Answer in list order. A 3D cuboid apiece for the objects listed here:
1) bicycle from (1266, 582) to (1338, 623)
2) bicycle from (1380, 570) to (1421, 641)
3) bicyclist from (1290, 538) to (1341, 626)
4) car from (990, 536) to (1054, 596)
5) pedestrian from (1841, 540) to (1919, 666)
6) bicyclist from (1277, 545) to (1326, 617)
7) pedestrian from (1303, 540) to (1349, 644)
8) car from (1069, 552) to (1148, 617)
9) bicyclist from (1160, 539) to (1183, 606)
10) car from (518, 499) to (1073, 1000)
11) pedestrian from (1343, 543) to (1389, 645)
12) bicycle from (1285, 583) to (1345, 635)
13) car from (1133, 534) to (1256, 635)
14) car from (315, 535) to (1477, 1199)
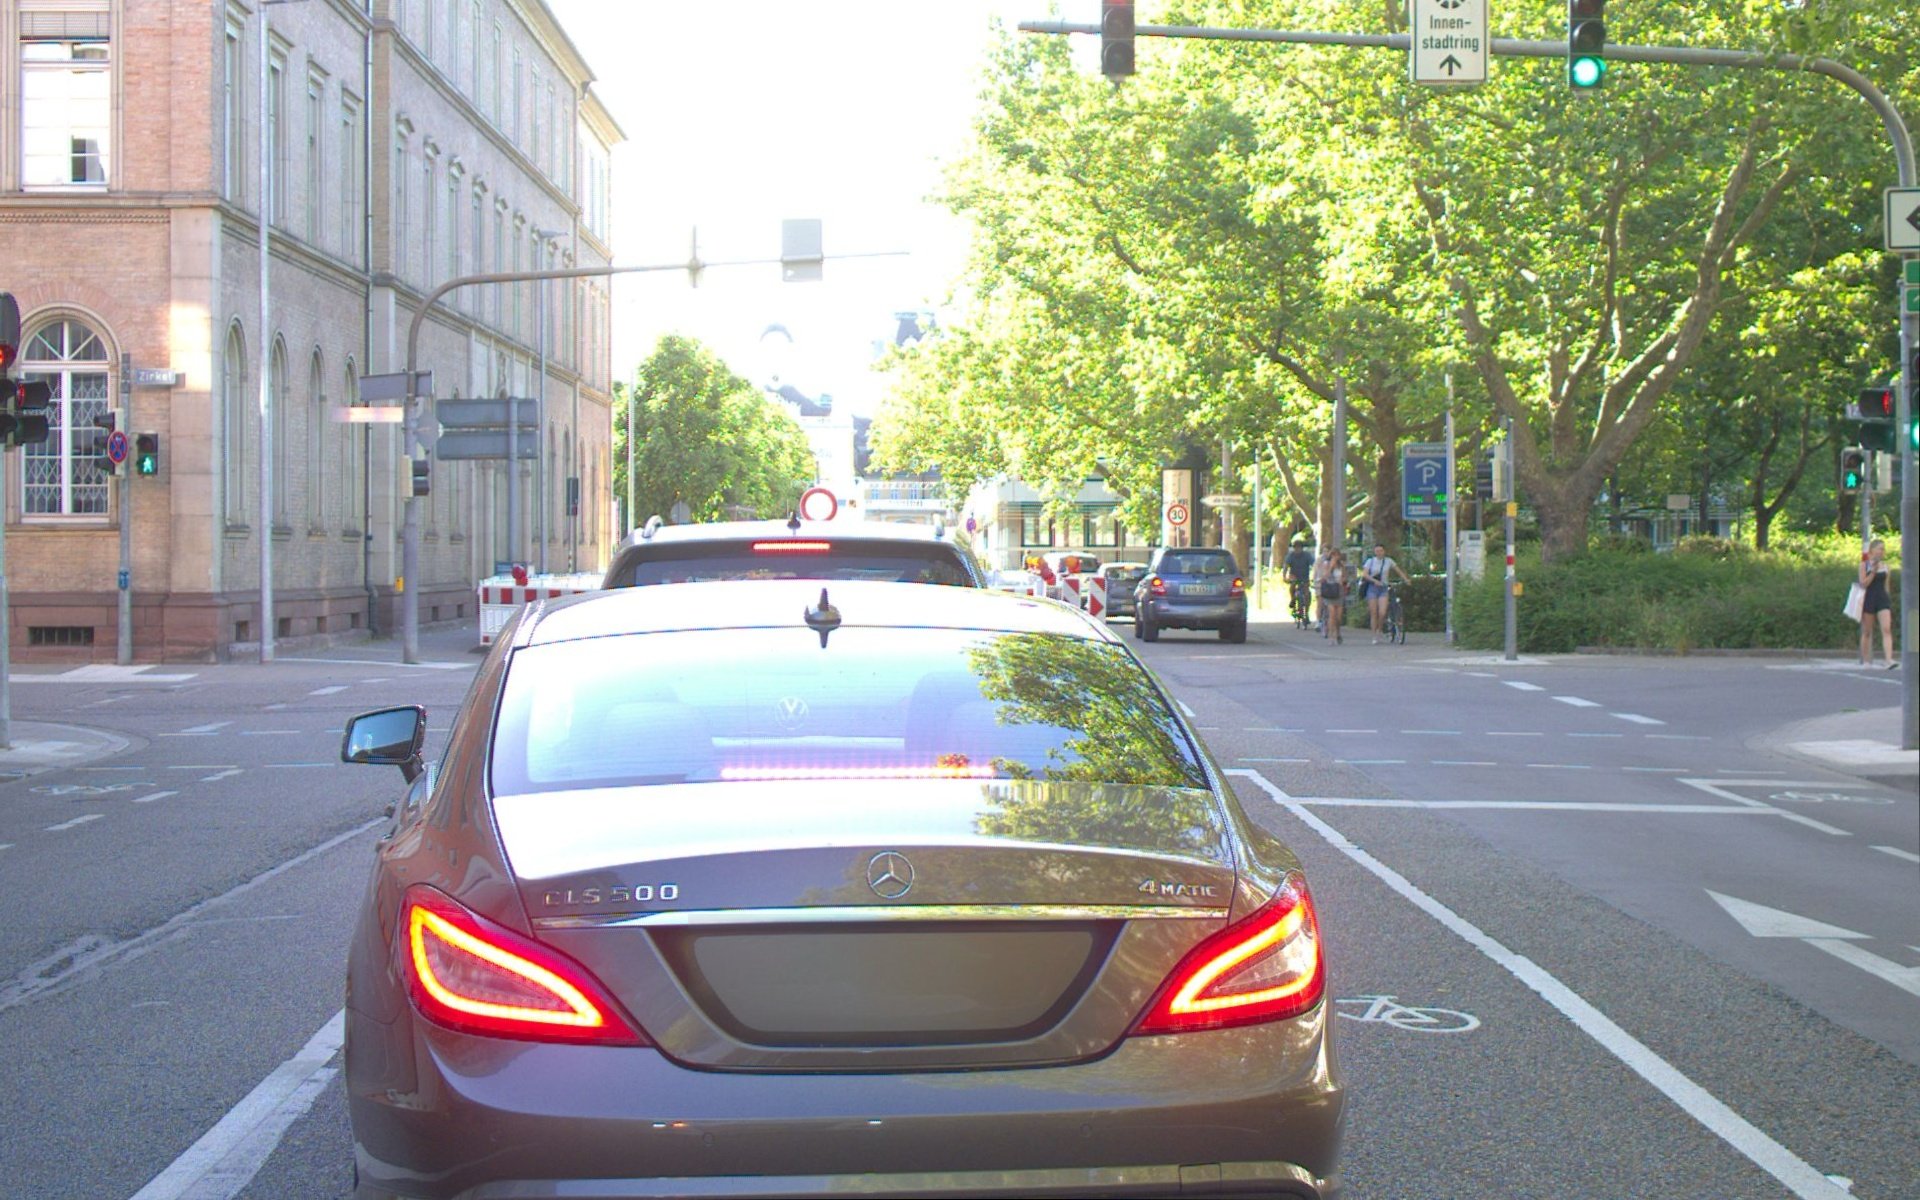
[{"bbox_3d":[6.781,0.048,68.006,0.724,0.788,1.925,1,1,28],"label":"bicycle"},{"bbox_3d":[7.596,0.084,59.317,0.482,1.198,1.606,1,0,-1],"label":"bicycle"},{"bbox_3d":[6.655,-0.339,64.419,0.825,1.612,0.957,1,0,-1],"label":"bicyclist"},{"bbox_3d":[1.764,-0.974,98.844,1.731,1.656,3.681,1,1,-1],"label":"car"},{"bbox_3d":[11.500,0.032,42.806,0.635,1.540,0.910,1,0,-16],"label":"pedestrian"},{"bbox_3d":[6.755,-0.378,67.970,0.734,1.393,0.697,1,0,28],"label":"bicyclist"},{"bbox_3d":[6.342,-0.142,59.592,0.635,1.791,0.699,1,0,-4],"label":"pedestrian"},{"bbox_3d":[3.626,-0.400,84.505,1.704,1.514,4.000,0,1,-1],"label":"car"},{"bbox_3d":[6.460,-0.850,104.993,0.594,2.032,0.566,1,0,-4],"label":"bicyclist"},{"bbox_3d":[-0.580,0.471,13.611,1.861,1.677,4.000,0,1,-1],"label":"car"},{"bbox_3d":[7.040,-0.111,59.661,0.635,1.754,0.699,1,0,-4],"label":"pedestrian"},{"bbox_3d":[6.648,0.161,64.476,0.828,0.921,2.617,1,1,-1],"label":"bicycle"},{"bbox_3d":[4.249,-0.316,62.883,1.861,1.758,4.482,0,1,-1],"label":"car"},{"bbox_3d":[-0.359,0.626,7.481,1.861,1.514,4.001,0,1,-8],"label":"car"}]
